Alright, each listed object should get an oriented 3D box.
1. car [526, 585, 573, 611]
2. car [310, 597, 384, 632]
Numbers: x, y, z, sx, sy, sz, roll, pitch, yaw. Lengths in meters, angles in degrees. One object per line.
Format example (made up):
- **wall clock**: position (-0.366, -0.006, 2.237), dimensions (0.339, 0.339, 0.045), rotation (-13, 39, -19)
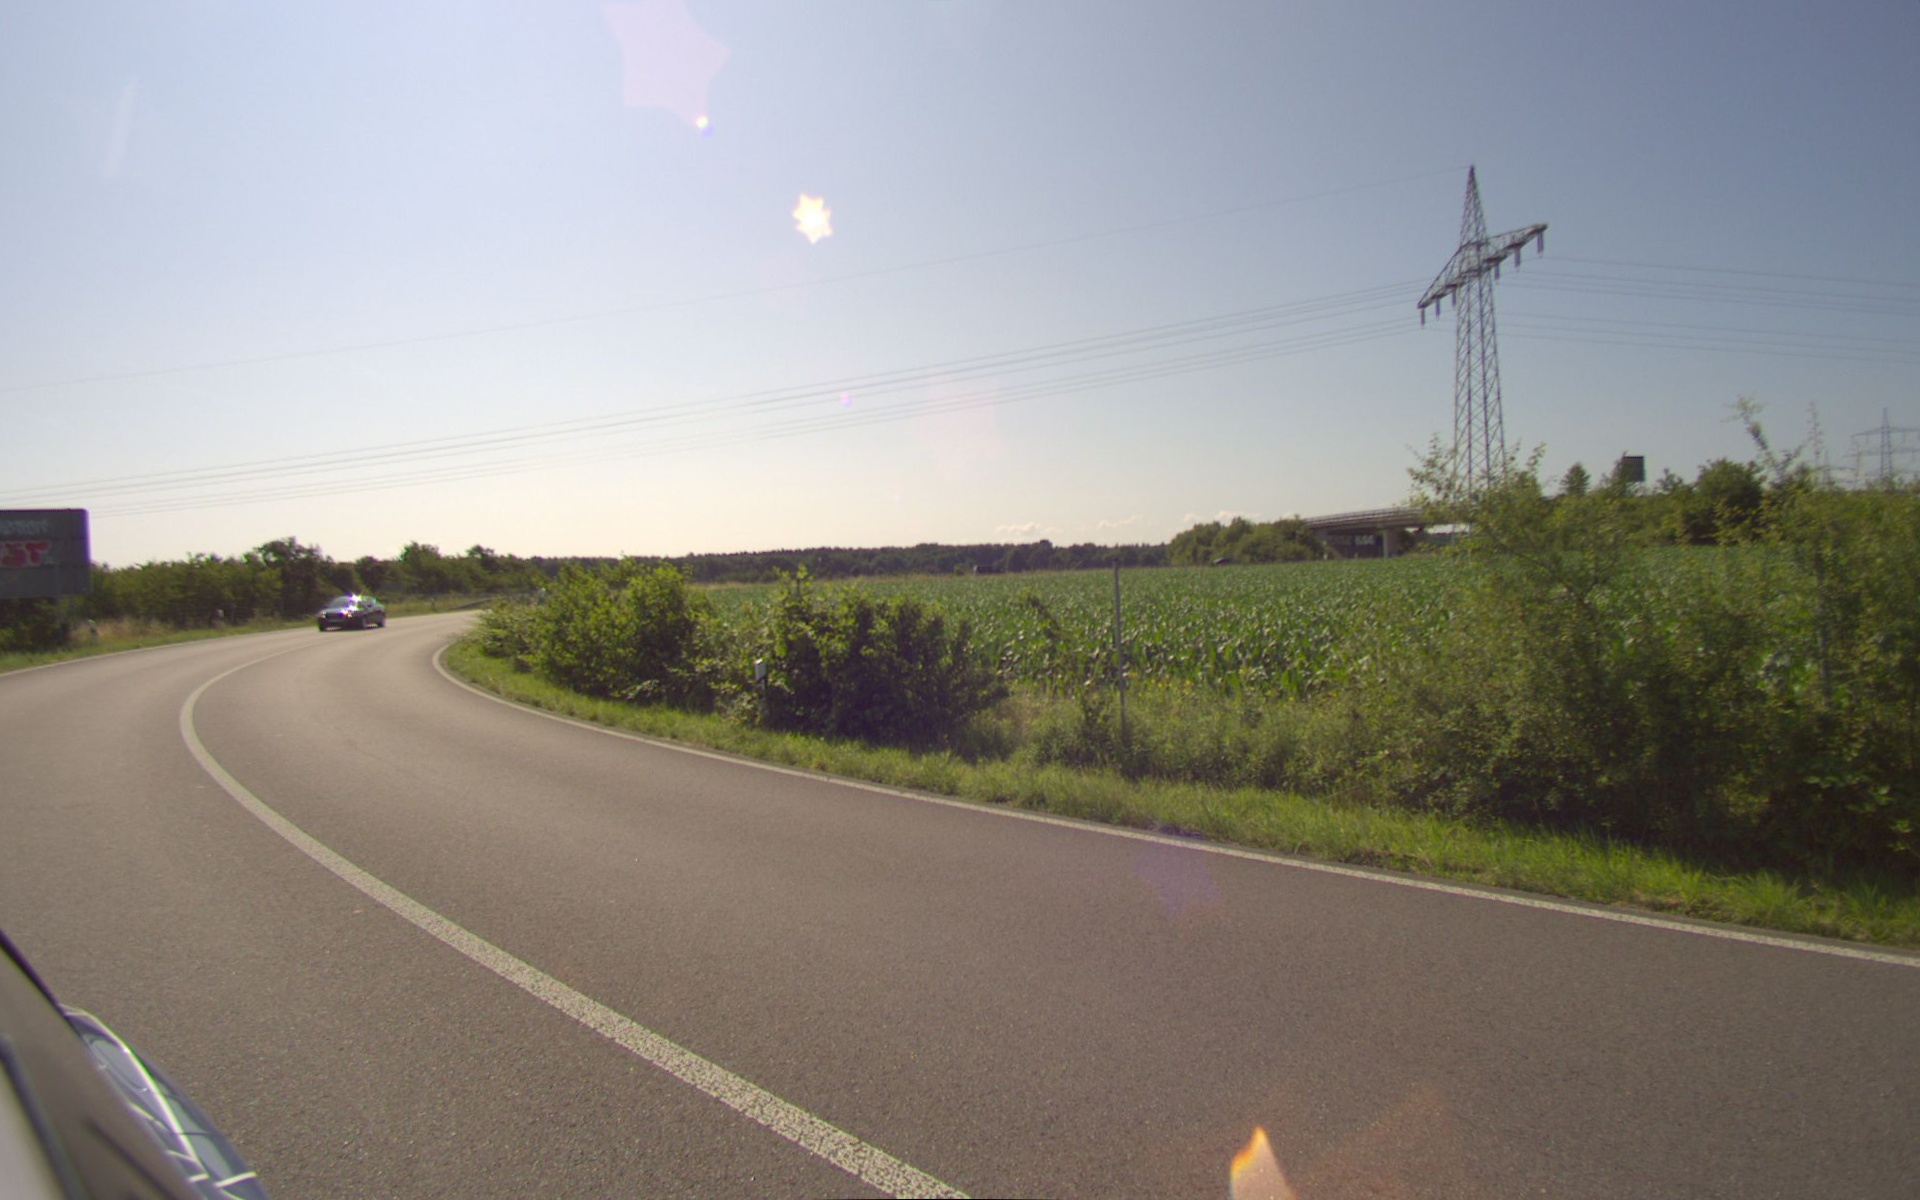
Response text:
- **car**: position (-27.268, -0.151, 67.349), dimensions (1.842, 1.492, 5.148), rotation (0, 3, -10)
- **car**: position (-26.813, 0.663, 44.424), dimensions (1.855, 1.467, 4.088), rotation (0, -1, -17)
